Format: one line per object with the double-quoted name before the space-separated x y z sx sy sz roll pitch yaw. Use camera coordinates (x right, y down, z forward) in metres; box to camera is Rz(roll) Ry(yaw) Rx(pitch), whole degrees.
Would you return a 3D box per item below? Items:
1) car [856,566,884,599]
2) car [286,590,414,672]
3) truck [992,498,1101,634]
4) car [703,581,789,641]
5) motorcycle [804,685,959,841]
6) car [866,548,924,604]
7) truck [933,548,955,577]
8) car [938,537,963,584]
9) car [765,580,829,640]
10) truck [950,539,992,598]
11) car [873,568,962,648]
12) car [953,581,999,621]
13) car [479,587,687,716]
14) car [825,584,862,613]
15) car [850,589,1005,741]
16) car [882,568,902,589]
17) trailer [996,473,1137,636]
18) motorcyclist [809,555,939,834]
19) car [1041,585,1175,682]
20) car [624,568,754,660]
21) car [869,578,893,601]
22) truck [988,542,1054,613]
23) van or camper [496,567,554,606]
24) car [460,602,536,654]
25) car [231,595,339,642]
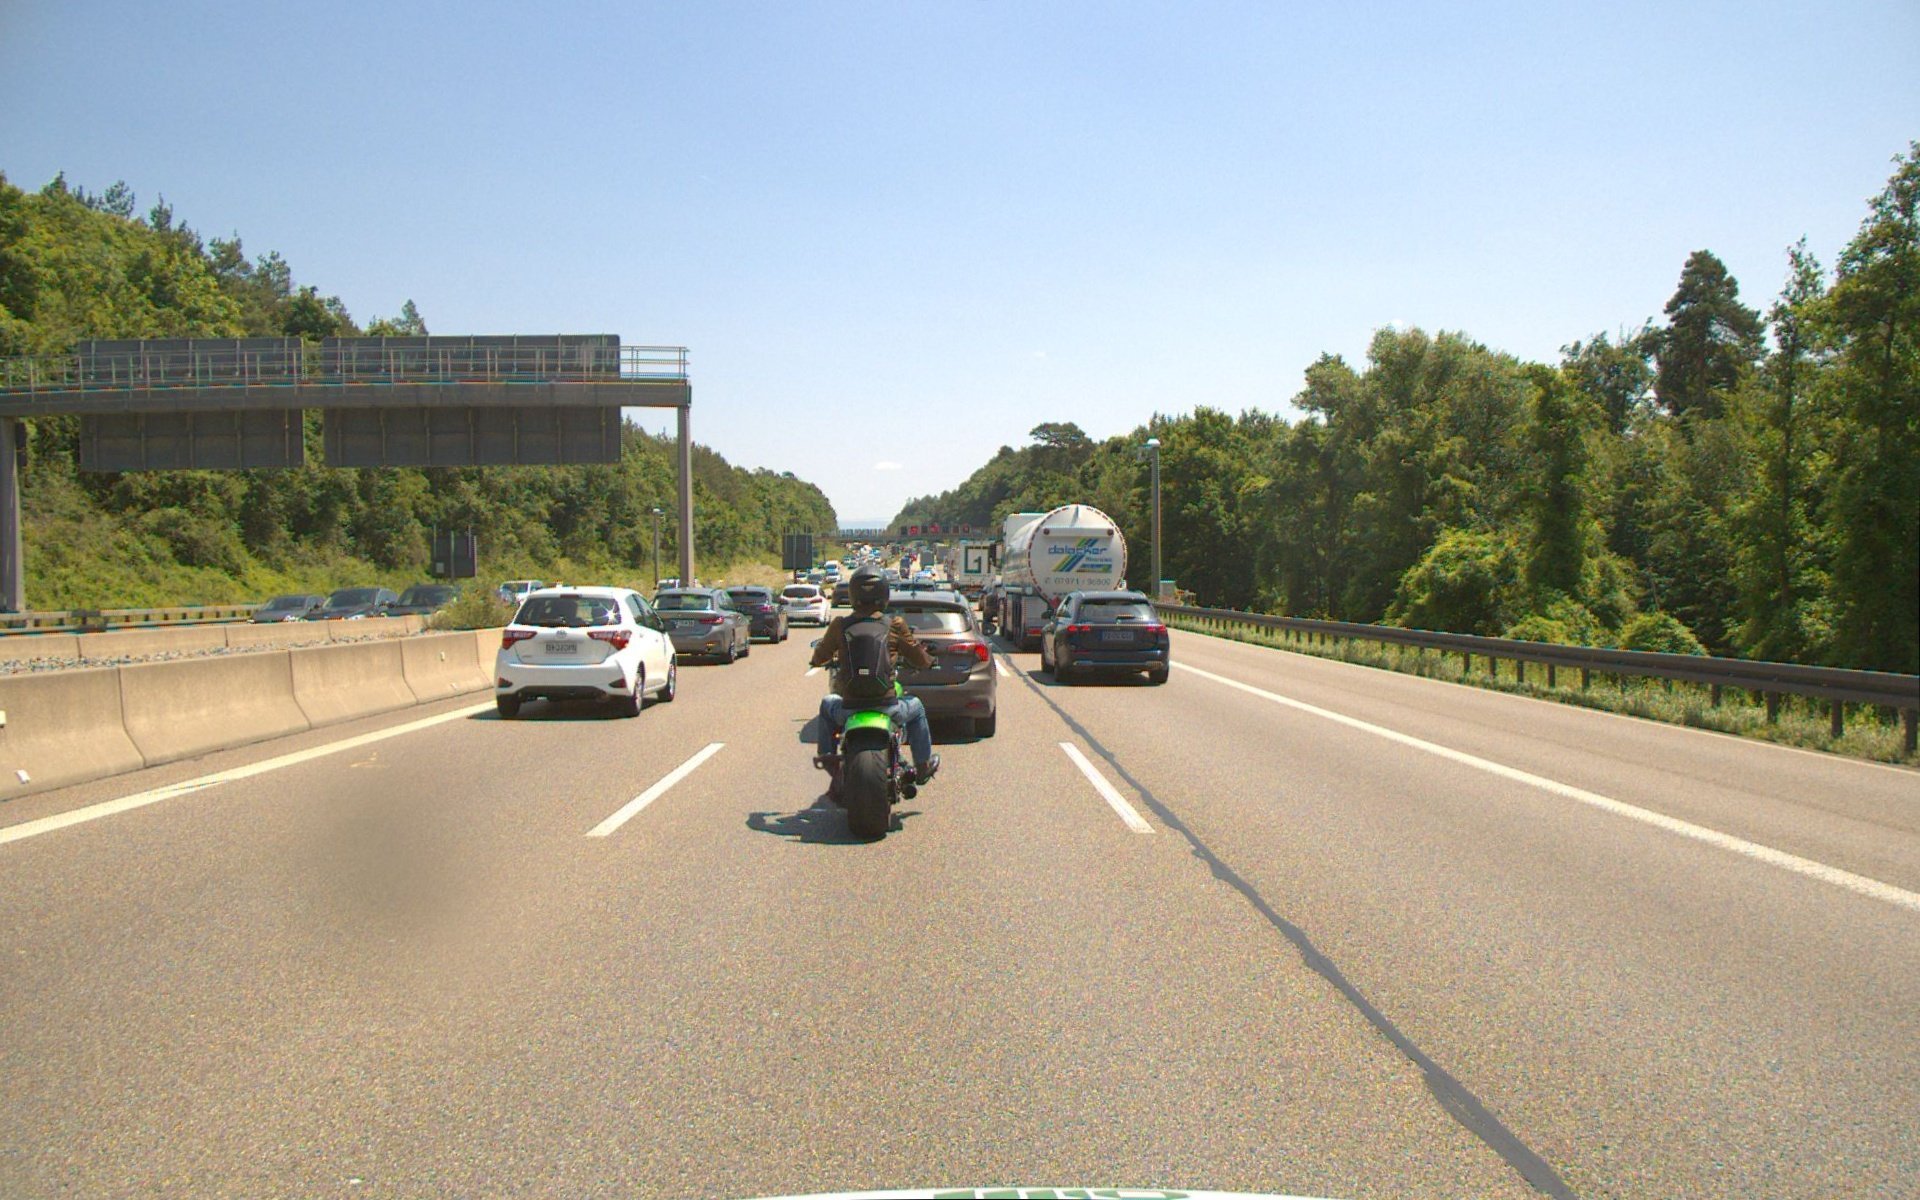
"car" -5.778 -1.111 106.178 1.627 2.012 3.999 0 0 -1
"car" -16.049 0.806 43.718 1.914 2.049 3.999 0 -1 -1
"truck" 2.458 -0.896 49.003 2.770 3.735 6.427 1 -1 -1
"car" -5.582 0.310 43.553 1.954 1.490 3.997 1 -1 -4
"motorcycle" -0.489 1.027 10.991 0.917 0.807 2.298 1 0 -1
"car" -2.252 -0.806 57.759 1.953 1.806 3.998 1 -1 -2
"truck" -2.105 -4.720 209.840 2.641 3.465 10.475 -1 0 -1
"car" -0.876 -3.574 152.345 2.123 3.961 9.327 0 -1 -1
"car" -5.717 0.372 58.530 1.953 2.049 3.998 1 -1 -2
"truck" 0.808 -2.133 115.344 2.794 3.888 7.188 0 -1 2
"car" -1.013 0.205 38.575 1.953 1.741 3.998 1 -1 -2
"car" 0.610 0.081 66.923 1.740 1.554 3.999 1 -1 -1
"car" -4.571 0.603 20.614 1.740 1.435 3.999 1 -1 -1
"car" -6.307 -0.061 89.658 1.728 1.467 3.999 1 -1 -1
"car" -0.355 0.636 18.195 1.509 1.475 3.999 1 0 -1
"car" -6.940 -2.186 169.410 1.953 2.049 3.999 -1 0 -1
"trailer" 2.567 -0.980 43.427 2.770 3.735 10.729 1 -1 -1
"motorcyclist" -0.541 0.590 10.742 0.782 1.717 1.016 0 -1 -1
"car" 2.421 0.549 28.050 1.756 1.484 4.622 0 -1 -1
"car" -5.344 0.291 33.154 1.953 1.713 4.329 1 -1 -1
"car" -5.778 -0.764 121.533 1.627 1.627 3.999 0 0 -1
"truck" 2.684 -0.974 74.989 2.340 3.031 8.249 0 0 -2
"van or camper" -23.721 -0.718 90.386 1.953 2.049 4.679 0 -1 -1
"car" -18.995 1.146 68.186 1.953 2.049 4.282 0 -1 -1
"car" -22.252 0.615 54.675 1.953 1.473 3.999 1 -1 -1
